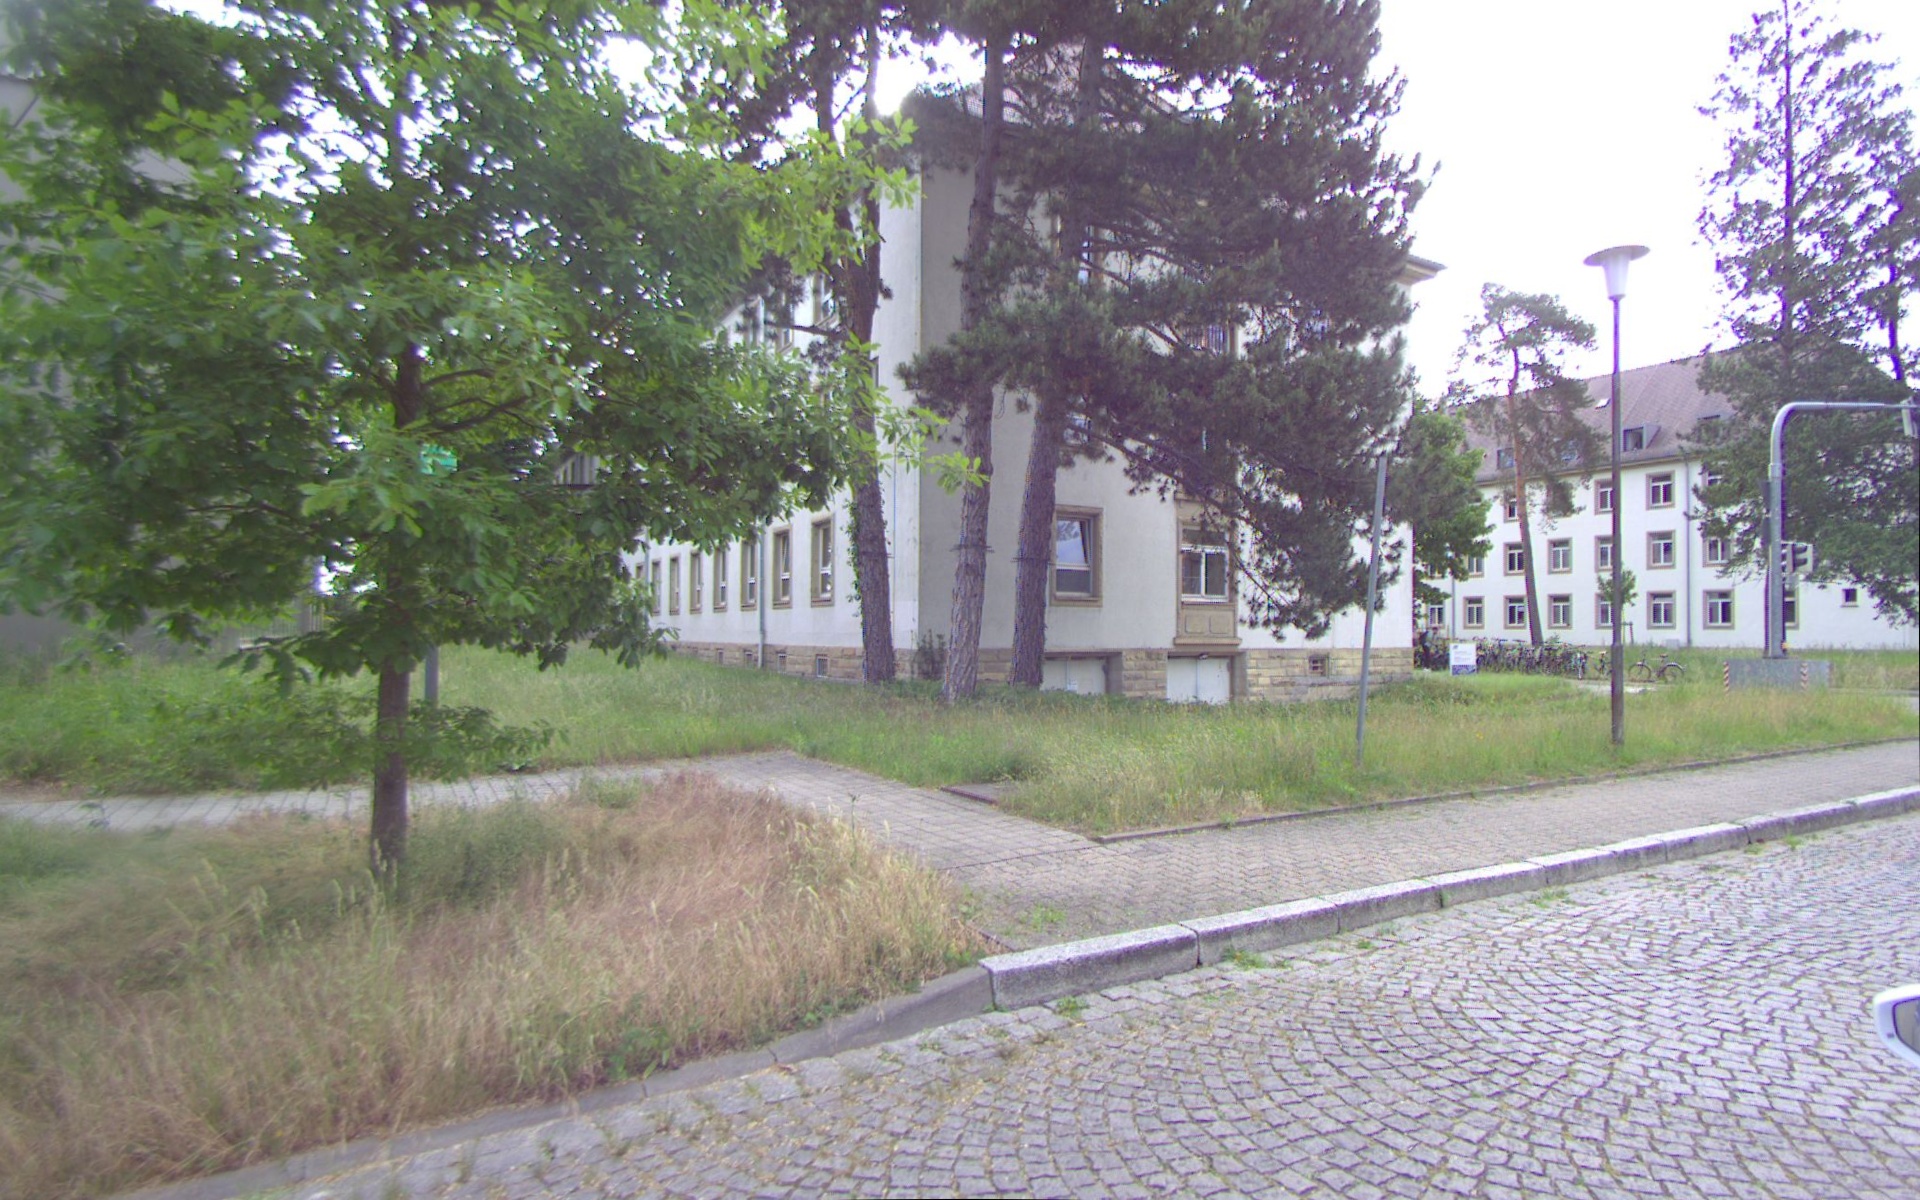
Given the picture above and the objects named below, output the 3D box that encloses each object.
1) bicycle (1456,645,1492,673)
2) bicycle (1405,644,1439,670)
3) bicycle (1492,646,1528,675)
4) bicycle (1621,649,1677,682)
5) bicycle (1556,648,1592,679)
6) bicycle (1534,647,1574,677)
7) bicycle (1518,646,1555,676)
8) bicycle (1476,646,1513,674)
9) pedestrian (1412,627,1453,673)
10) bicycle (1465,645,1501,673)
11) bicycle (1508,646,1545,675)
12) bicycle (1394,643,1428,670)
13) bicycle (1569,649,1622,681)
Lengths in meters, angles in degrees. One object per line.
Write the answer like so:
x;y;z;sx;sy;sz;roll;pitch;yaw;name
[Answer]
20.481;2.363;40.018;1.567;1.093;0.512;2;-2;-31;bicycle
19.346;2.381;42.044;1.567;1.093;0.512;2;-2;-31;bicycle
21.242;2.312;38.777;1.567;1.093;0.512;2;-2;-31;bicycle
22.965;2.175;33.482;0.510;1.079;1.457;2;-3;-32;bicycle
22.461;2.308;36.747;1.569;1.093;0.511;2;-3;-34;bicycle
22.048;2.304;37.286;1.565;1.093;0.512;1;-2;-28;bicycle
21.774;2.304;37.942;1.567;1.093;0.512;2;-2;-31;bicycle
20.913;2.332;39.304;1.567;1.093;0.512;2;-2;-31;bicycle
19.235;2.019;40.893;1.135;1.812;1.064;-1;-1;-2;pedestrian
20.681;2.334;39.690;1.567;1.093;0.512;2;-2;-31;bicycle
21.597;2.304;38.257;1.567;1.093;0.512;2;-2;-31;bicycle
19.087;2.380;42.472;1.567;1.093;0.512;2;-2;-31;bicycle
22.005;2.242;34.808;0.510;1.093;1.457;2;-3;-32;bicycle
